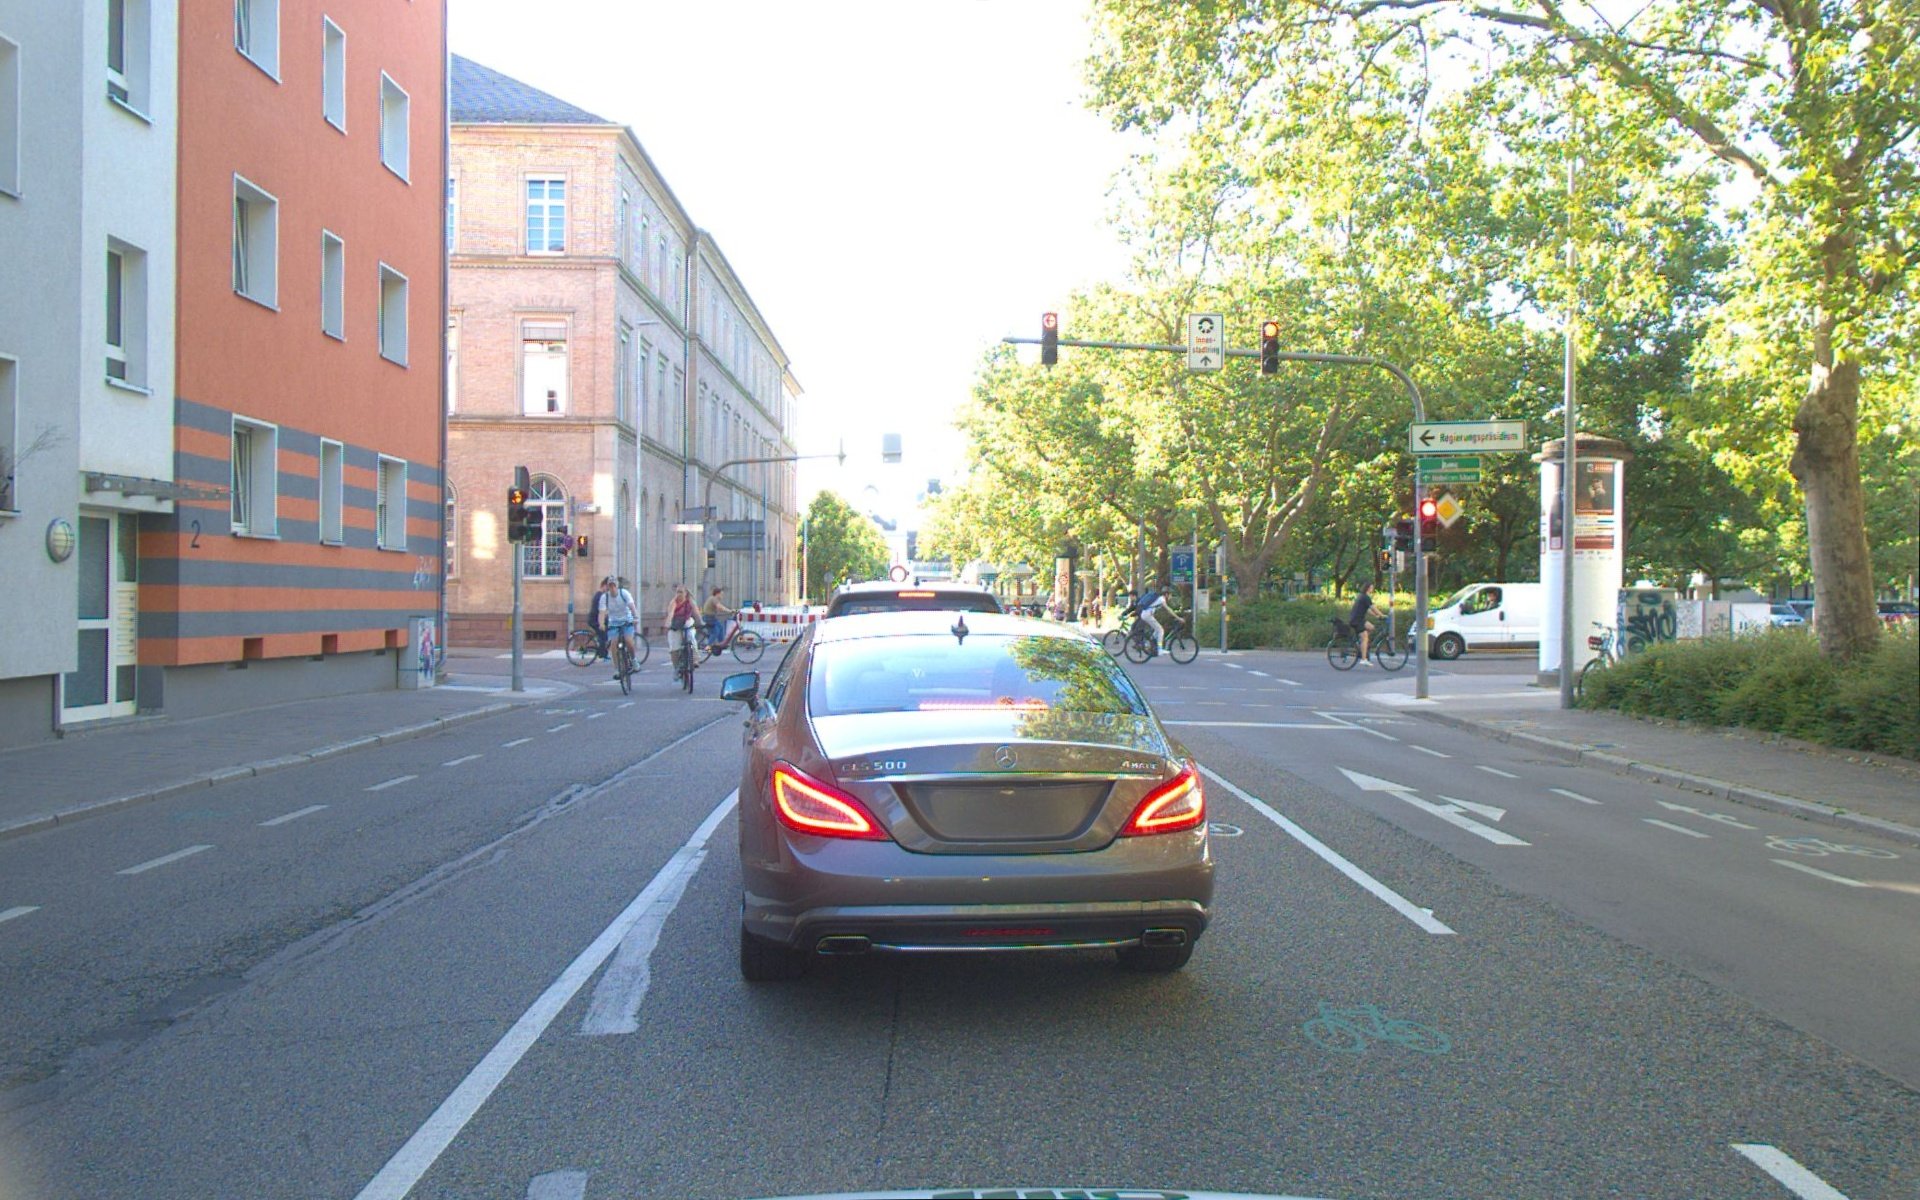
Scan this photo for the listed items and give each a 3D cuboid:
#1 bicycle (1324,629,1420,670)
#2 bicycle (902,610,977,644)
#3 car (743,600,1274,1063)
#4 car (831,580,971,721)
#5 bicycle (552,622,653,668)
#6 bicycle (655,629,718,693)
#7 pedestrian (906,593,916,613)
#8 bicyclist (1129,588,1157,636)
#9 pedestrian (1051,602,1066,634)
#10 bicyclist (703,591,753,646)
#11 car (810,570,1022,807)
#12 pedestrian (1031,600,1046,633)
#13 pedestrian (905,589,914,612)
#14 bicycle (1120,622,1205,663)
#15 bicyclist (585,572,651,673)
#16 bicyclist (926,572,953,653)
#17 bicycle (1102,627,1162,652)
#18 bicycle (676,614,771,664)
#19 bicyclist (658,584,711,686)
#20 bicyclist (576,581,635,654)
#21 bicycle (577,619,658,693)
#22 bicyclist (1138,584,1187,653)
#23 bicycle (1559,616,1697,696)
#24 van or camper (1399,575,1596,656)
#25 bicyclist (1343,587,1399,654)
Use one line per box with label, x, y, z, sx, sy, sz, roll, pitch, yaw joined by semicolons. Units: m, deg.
bicycle;8.982;1.076;36.085;1.933;0.851;0.677;0;0;2
bicycle;-0.517;0.674;42.009;1.856;0.851;0.457;0;0;-9
car;-0.098;0.758;7.657;1.769;1.482;4.343;0;0;-8
car;-0.781;0.641;23.226;1.783;1.793;3.999;0;0;-1
bicycle;-7.469;0.936;34.617;1.946;0.919;0.733;0;0;-1
bicycle;-4.401;0.969;26.687;0.679;0.945;1.863;0;0;1
pedestrian;-3.911;0.210;131.861;0.785;1.604;0.844;0;0;-1
bicyclist;4.842;0.316;43.770;0.689;1.282;0.458;0;0;3
pedestrian;4.629;0.841;77.684;0.635;1.458;0.659;0;0;-1
bicyclist;-4.999;0.397;35.673;0.971;1.174;0.620;0;0;1
car;-0.404;0.628;13.721;1.487;1.675;3.878;1;0;-3
pedestrian;3.691;0.775;77.997;0.635;1.529;0.637;0;0;-1
pedestrian;-4.263;0.009;138.745;0.706;1.935;0.704;0;0;-1
bicycle;4.587;0.970;37.569;1.853;0.898;0.726;0;0;3
bicyclist;-5.448;0.351;26.377;0.824;1.582;0.840;0;0;4
bicyclist;-0.525;0.308;42.000;0.640;2.049;0.439;0;0;-8
bicycle;4.552;1.035;43.741;1.554;0.646;0.496;0;0;3
bicycle;-5.090;0.832;35.684;1.939;1.045;0.652;0;0;1
bicyclist;-4.413;0.551;26.556;0.671;1.605;0.982;0;0;0
bicyclist;-7.421;0.358;34.644;1.094;1.516;0.711;0;0;-1
bicycle;-5.447;0.876;26.399;0.845;1.097;1.837;0;0;2
bicyclist;4.590;0.405;37.564;1.052;1.546;0.717;0;0;4
bicycle;9.602;0.804;23.808;1.766;1.116;0.510;0;0;2
van or camper;13.726;0.383;42.441;4.482;1.975;2.001;0;0;6
bicyclist;8.962;0.442;36.087;1.080;1.427;0.658;0;0;2
